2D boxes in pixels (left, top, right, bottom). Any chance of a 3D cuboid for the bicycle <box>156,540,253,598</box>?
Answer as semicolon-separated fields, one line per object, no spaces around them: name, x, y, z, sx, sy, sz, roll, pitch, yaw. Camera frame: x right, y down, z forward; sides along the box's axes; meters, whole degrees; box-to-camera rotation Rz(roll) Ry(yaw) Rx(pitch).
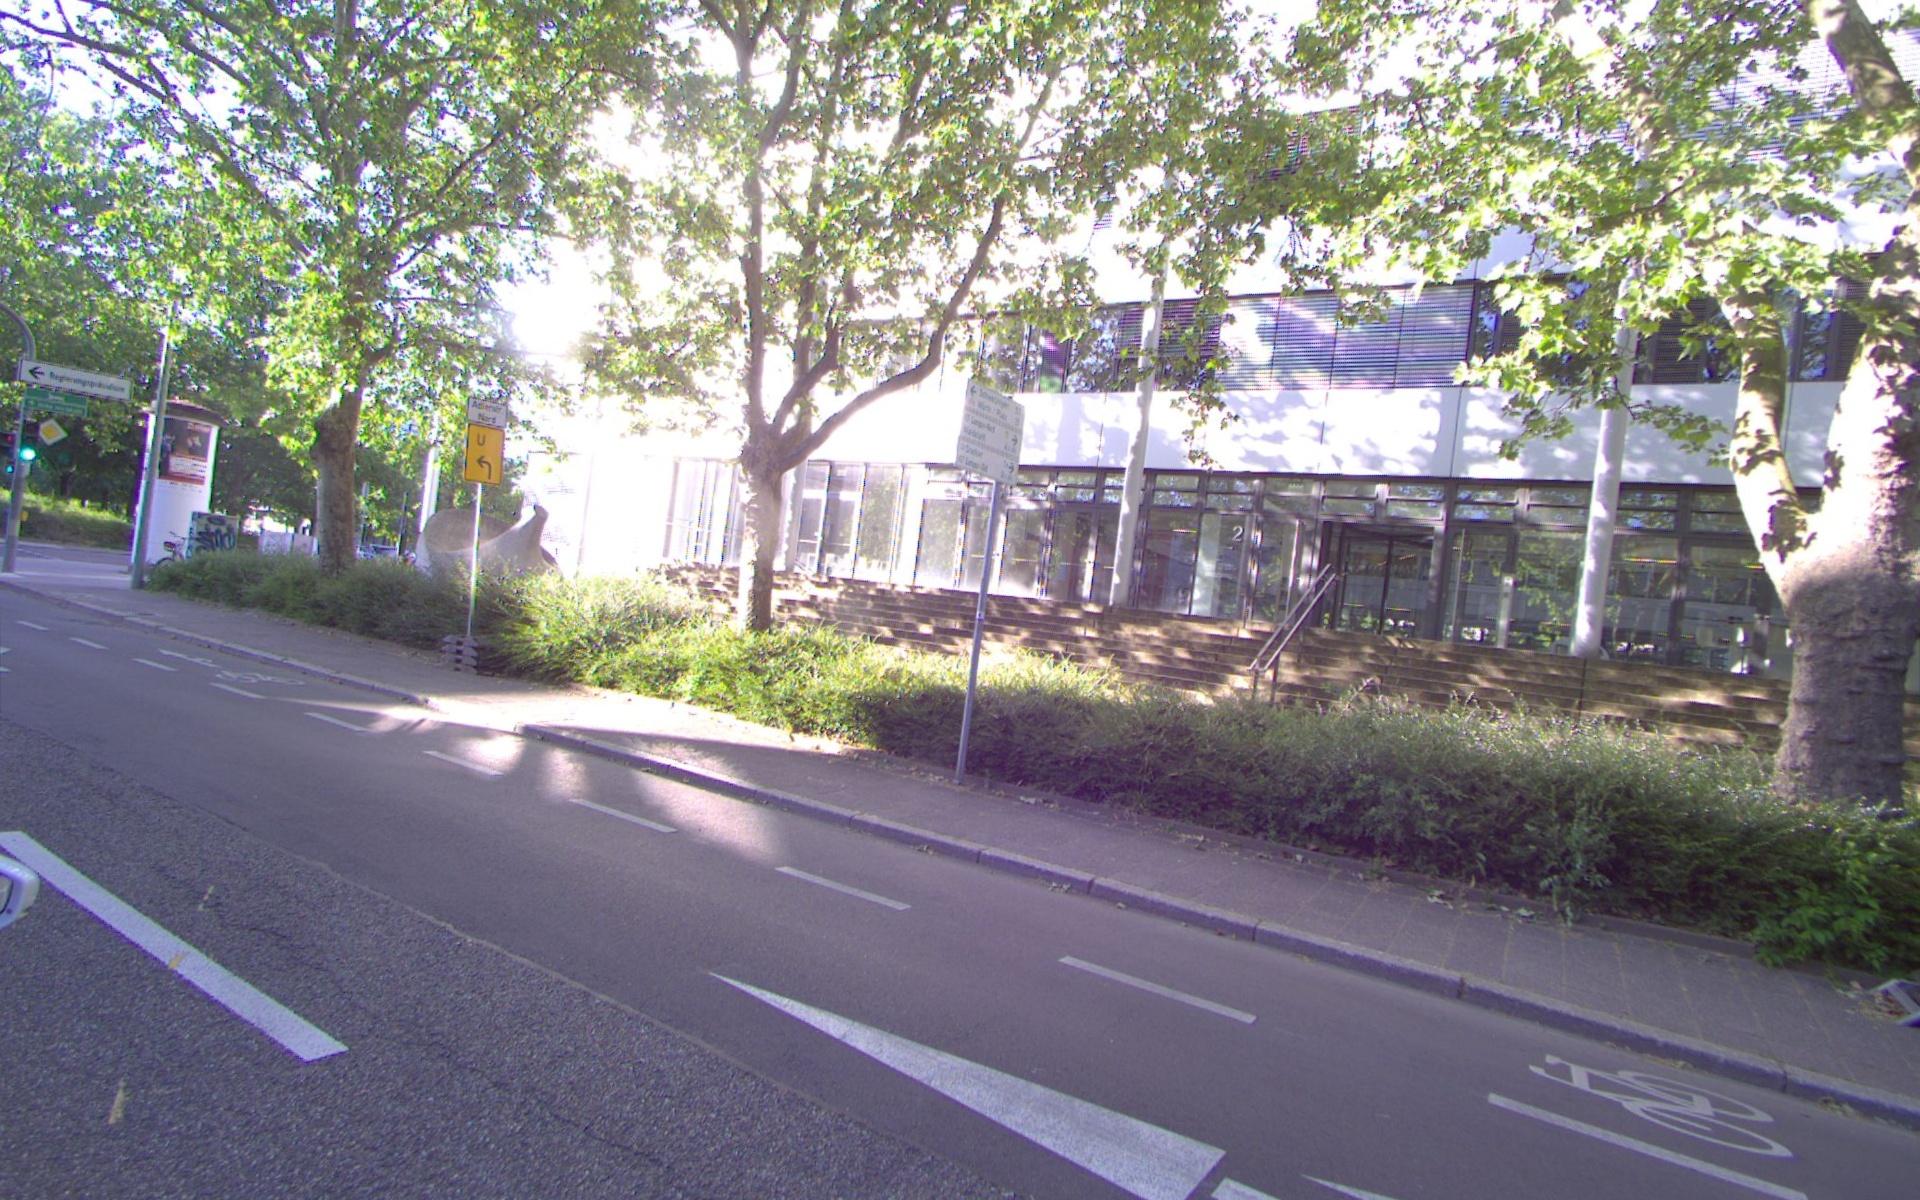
bicycle;-15.911;-0.634;21.246;0.631;1.040;1.887;7;-2;-5
